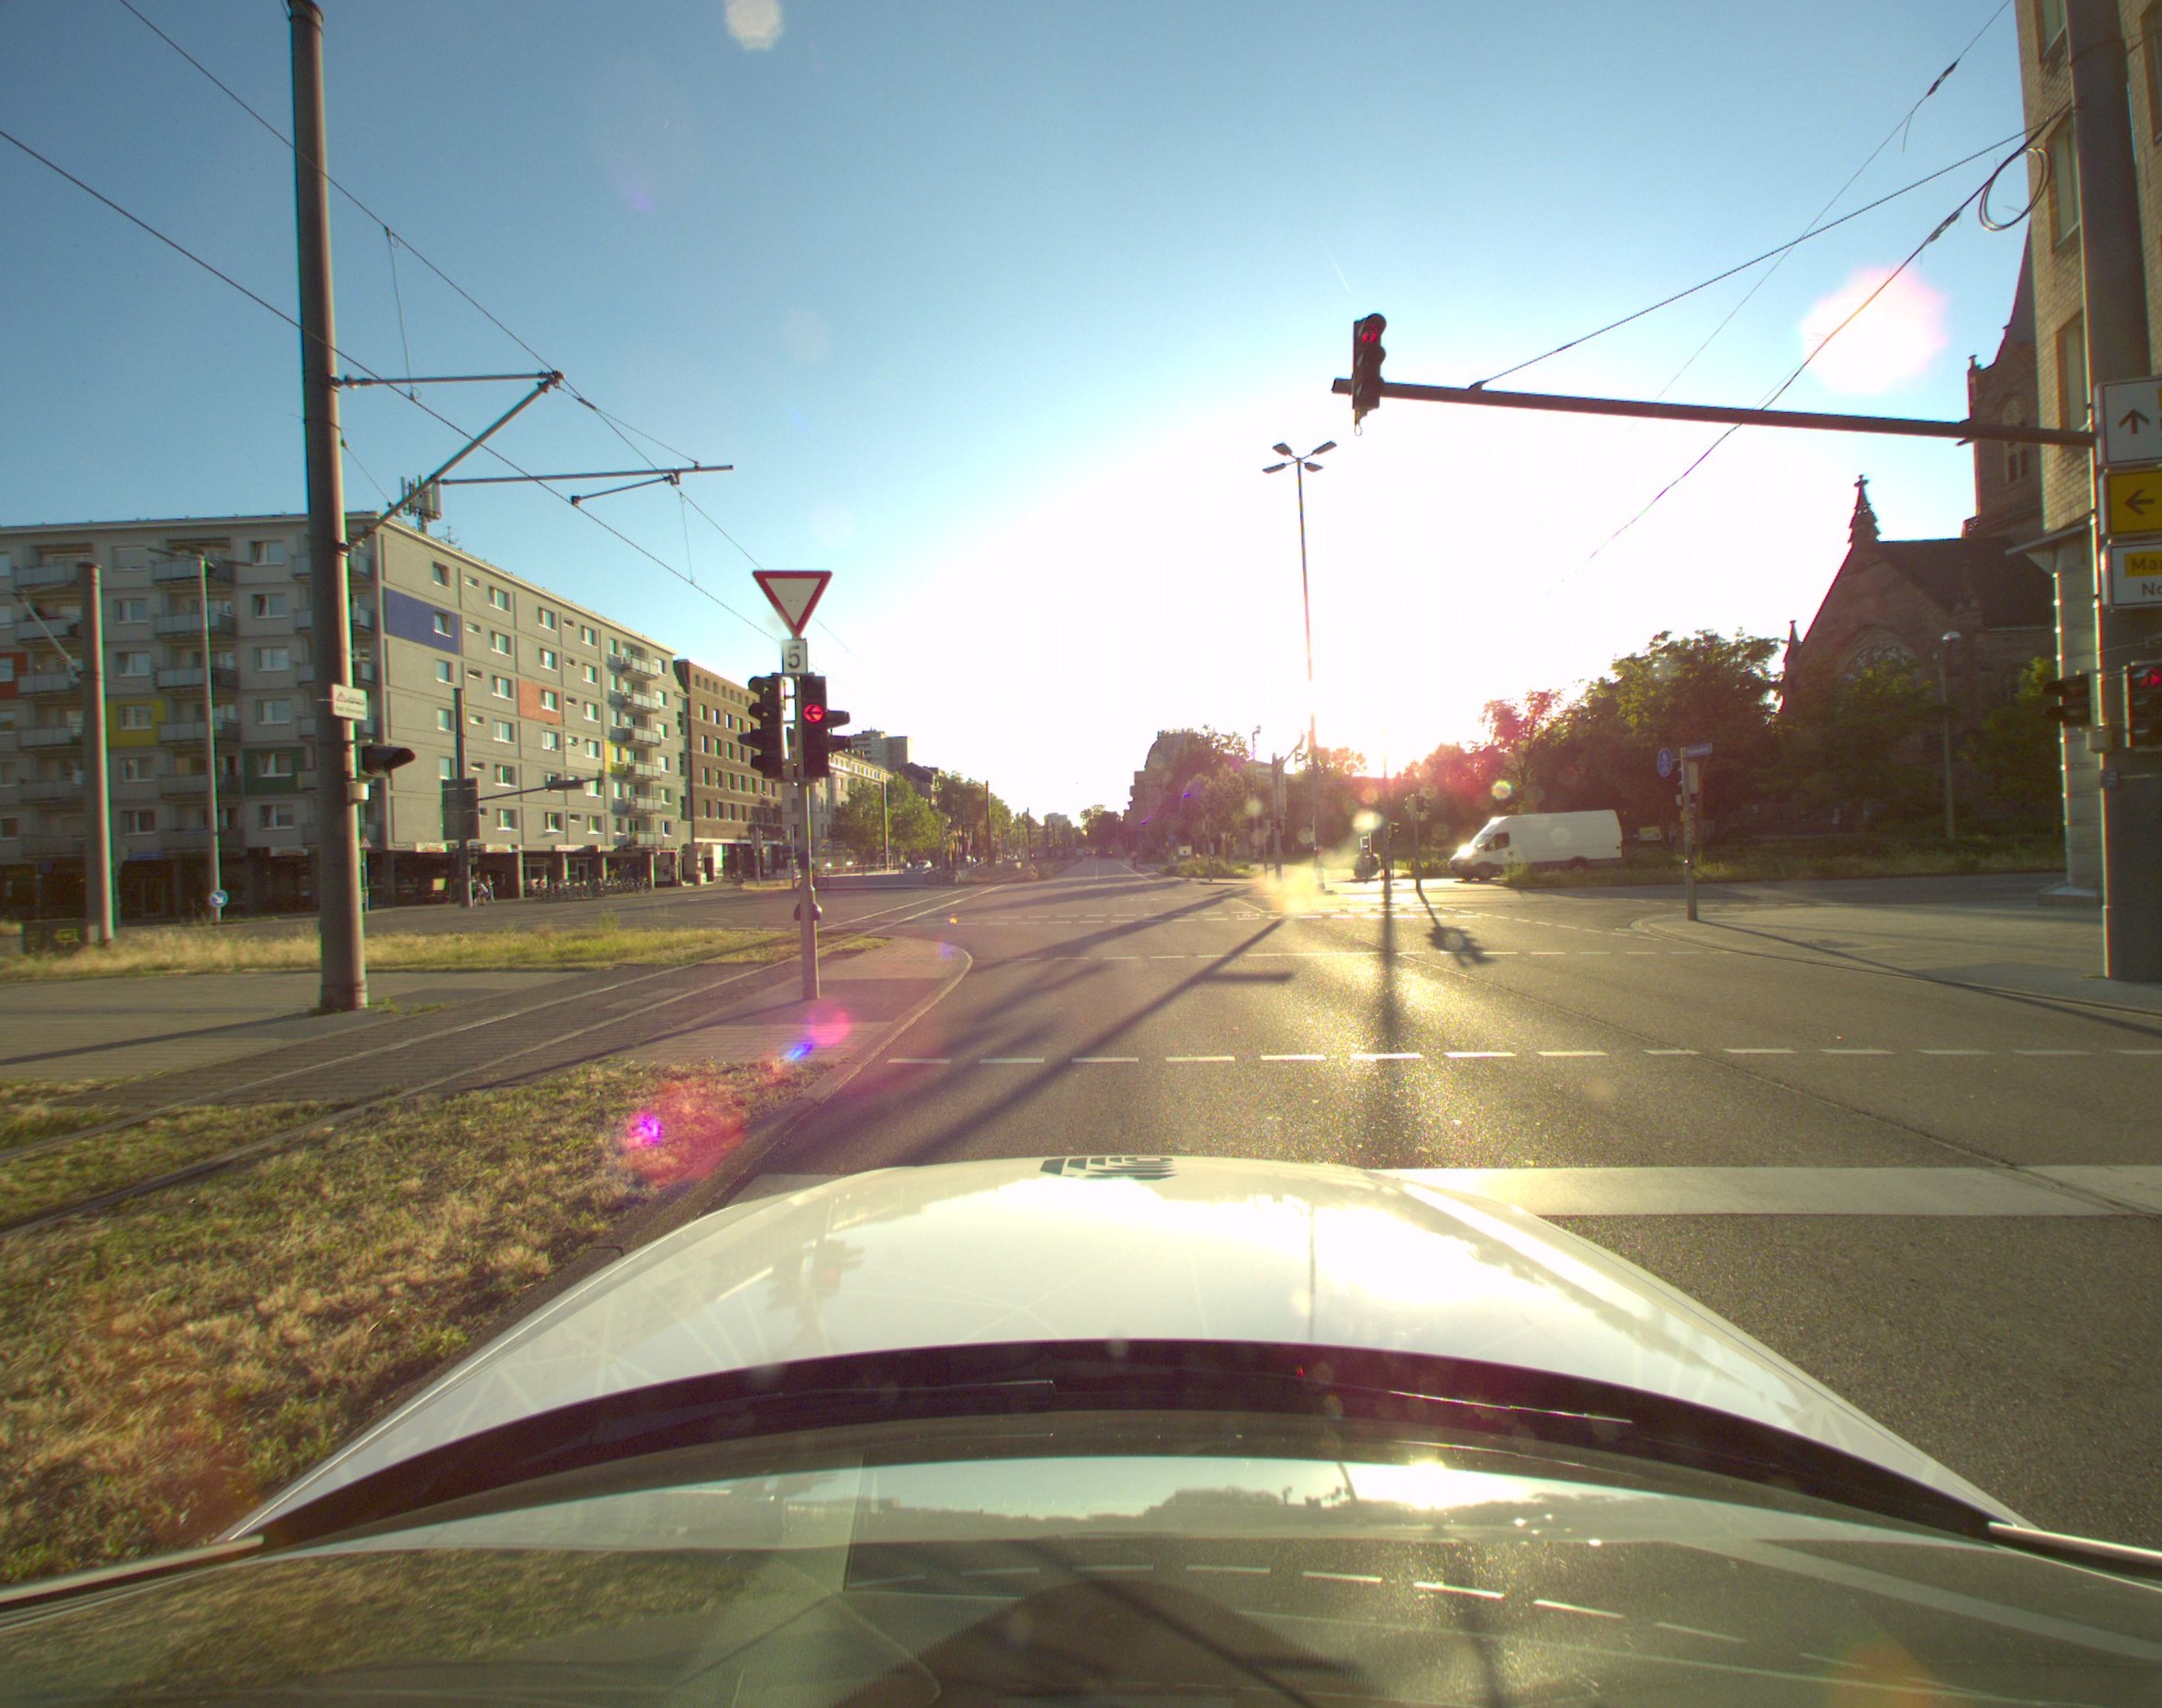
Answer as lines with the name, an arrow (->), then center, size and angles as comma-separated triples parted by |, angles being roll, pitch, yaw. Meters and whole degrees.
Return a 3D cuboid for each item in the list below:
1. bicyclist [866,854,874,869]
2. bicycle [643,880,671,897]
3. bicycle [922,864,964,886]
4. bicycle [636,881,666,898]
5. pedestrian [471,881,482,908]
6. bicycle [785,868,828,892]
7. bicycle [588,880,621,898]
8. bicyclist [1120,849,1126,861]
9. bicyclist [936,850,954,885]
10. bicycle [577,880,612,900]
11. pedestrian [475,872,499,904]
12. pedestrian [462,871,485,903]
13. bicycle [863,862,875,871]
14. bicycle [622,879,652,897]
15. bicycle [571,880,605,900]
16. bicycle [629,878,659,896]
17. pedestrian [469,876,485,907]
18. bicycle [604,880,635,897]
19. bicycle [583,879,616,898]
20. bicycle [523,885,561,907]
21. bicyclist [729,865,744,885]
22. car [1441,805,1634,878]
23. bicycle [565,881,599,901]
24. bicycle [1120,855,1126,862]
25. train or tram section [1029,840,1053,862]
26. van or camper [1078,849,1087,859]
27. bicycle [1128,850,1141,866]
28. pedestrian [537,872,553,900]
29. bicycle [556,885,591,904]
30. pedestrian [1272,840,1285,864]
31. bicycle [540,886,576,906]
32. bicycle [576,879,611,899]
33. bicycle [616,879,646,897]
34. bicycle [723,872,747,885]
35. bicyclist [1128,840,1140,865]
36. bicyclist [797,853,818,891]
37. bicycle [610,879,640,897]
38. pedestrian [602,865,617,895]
bicyclist -> -28.392, 1.039, 109.613 | 0.793, 2.013, 0.924 | -2, 0, 4
bicycle -> -30.790, 2.495, 59.140 | 1.683, 1.144, 0.697 | -2, 0, 3
bicycle -> -7.319, 1.090, 43.208 | 2.164, 1.083, 0.537 | -1, -1, -10
bicycle -> -30.853, 2.539, 58.409 | 1.683, 1.170, 0.749 | -2, 0, 3
pedestrian -> -32.796, 2.195, 44.171 | 0.383, 1.383, 0.392 | -2, 0, -26
bicycle -> -13.447, 1.279, 39.898 | 1.902, 1.075, 0.629 | -2, 0, -12
bicycle -> -31.835, 2.339, 54.418 | 1.764, 1.136, 0.606 | -2, 0, 2
bicyclist -> 7.108, 0.221, 136.674 | 0.922, 2.013, 0.851 | -2, 0, 1
bicyclist -> -7.212, 0.700, 43.236 | 0.876, 1.818, 0.536 | -2, 0, -11
bicycle -> -31.244, 2.286, 52.300 | 1.782, 1.191, 0.652 | -2, 0, 1
pedestrian -> -35.014, 1.982, 48.010 | 0.785, 1.841, 0.733 | -2, 0, -7
pedestrian -> -35.935, 1.956, 48.186 | 0.826, 1.813, 0.718 | -2, 0, -9
bicycle -> -28.421, 1.652, 109.399 | 0.809, 1.201, 2.415 | -2, 0, 4
bicycle -> -30.978, 2.375, 56.880 | 1.683, 1.153, 0.706 | -2, 0, 3
bicycle -> -31.258, 2.305, 51.654 | 1.762, 1.182, 0.568 | -2, 0, 1
bicycle -> -30.931, 2.361, 57.636 | 1.683, 1.179, 0.749 | -2, 0, 3
pedestrian -> -32.427, 2.017, 43.719 | 0.575, 1.620, 0.598 | -2, 0, -29
bicycle -> -31.138, 2.327, 54.972 | 1.748, 1.117, 0.552 | -2, 0, 2
bicycle -> -31.780, 2.279, 53.754 | 1.769, 1.159, 0.606 | -2, 0, 1
bicycle -> -32.290, 2.521, 48.799 | 1.788, 1.208, 0.638 | -2, 0, 0
bicyclist -> -26.289, 1.606, 62.128 | 0.494, 1.426, 0.863 | -2, 0, 28
car -> 19.572, -0.529, 35.172 | 6.981, 2.827, 2.095 | -2, 0, 3
bicycle -> -31.296, 2.293, 51.053 | 1.759, 1.167, 0.540 | -2, 0, 2
bicycle -> 7.118, 0.684, 136.614 | 0.921, 1.111, 2.334 | -2, 0, 2
train or tram section -> -7.737, -0.749, 160.392 | 4.375, 3.849, 11.402 | -2, 2, -2
van or camper -> 0.418, -0.067, 226.443 | 2.441, 2.770, 5.600 | -2, 0, 0
bicycle -> 4.973, 0.342, 76.270 | 1.094, 1.399, 2.833 | -2, 0, 2
pedestrian -> -33.198, 1.991, 50.486 | 0.578, 1.684, 0.546 | -2, 0, -3
bicycle -> -31.463, 2.505, 50.480 | 1.750, 1.139, 0.600 | -2, 0, 2
pedestrian -> 15.065, -0.157, 62.211 | 0.826, 1.803, 0.814 | -2, 0, 17
bicycle -> -32.028, 2.595, 49.864 | 1.770, 1.142, 0.608 | -2, 0, 1
bicycle -> -31.776, 2.278, 53.104 | 1.824, 1.160, 0.640 | -2, 0, 1
bicycle -> -31.041, 2.333, 56.192 | 1.719, 1.124, 0.634 | -2, -1, 3
bicycle -> -26.346, 1.861, 62.007 | 0.503, 0.944, 1.678 | -2, 0, 28
bicyclist -> 4.954, -0.112, 76.152 | 1.078, 2.276, 0.986 | -2, 0, 1
bicyclist -> -13.399, 0.887, 39.908 | 0.793, 1.818, 0.644 | -2, 0, -10
bicycle -> -31.104, 2.338, 55.558 | 1.754, 1.119, 0.568 | -2, 0, 2
pedestrian -> -34.589, 1.918, 59.732 | 0.599, 2.178, 0.792 | -2, 0, 1
